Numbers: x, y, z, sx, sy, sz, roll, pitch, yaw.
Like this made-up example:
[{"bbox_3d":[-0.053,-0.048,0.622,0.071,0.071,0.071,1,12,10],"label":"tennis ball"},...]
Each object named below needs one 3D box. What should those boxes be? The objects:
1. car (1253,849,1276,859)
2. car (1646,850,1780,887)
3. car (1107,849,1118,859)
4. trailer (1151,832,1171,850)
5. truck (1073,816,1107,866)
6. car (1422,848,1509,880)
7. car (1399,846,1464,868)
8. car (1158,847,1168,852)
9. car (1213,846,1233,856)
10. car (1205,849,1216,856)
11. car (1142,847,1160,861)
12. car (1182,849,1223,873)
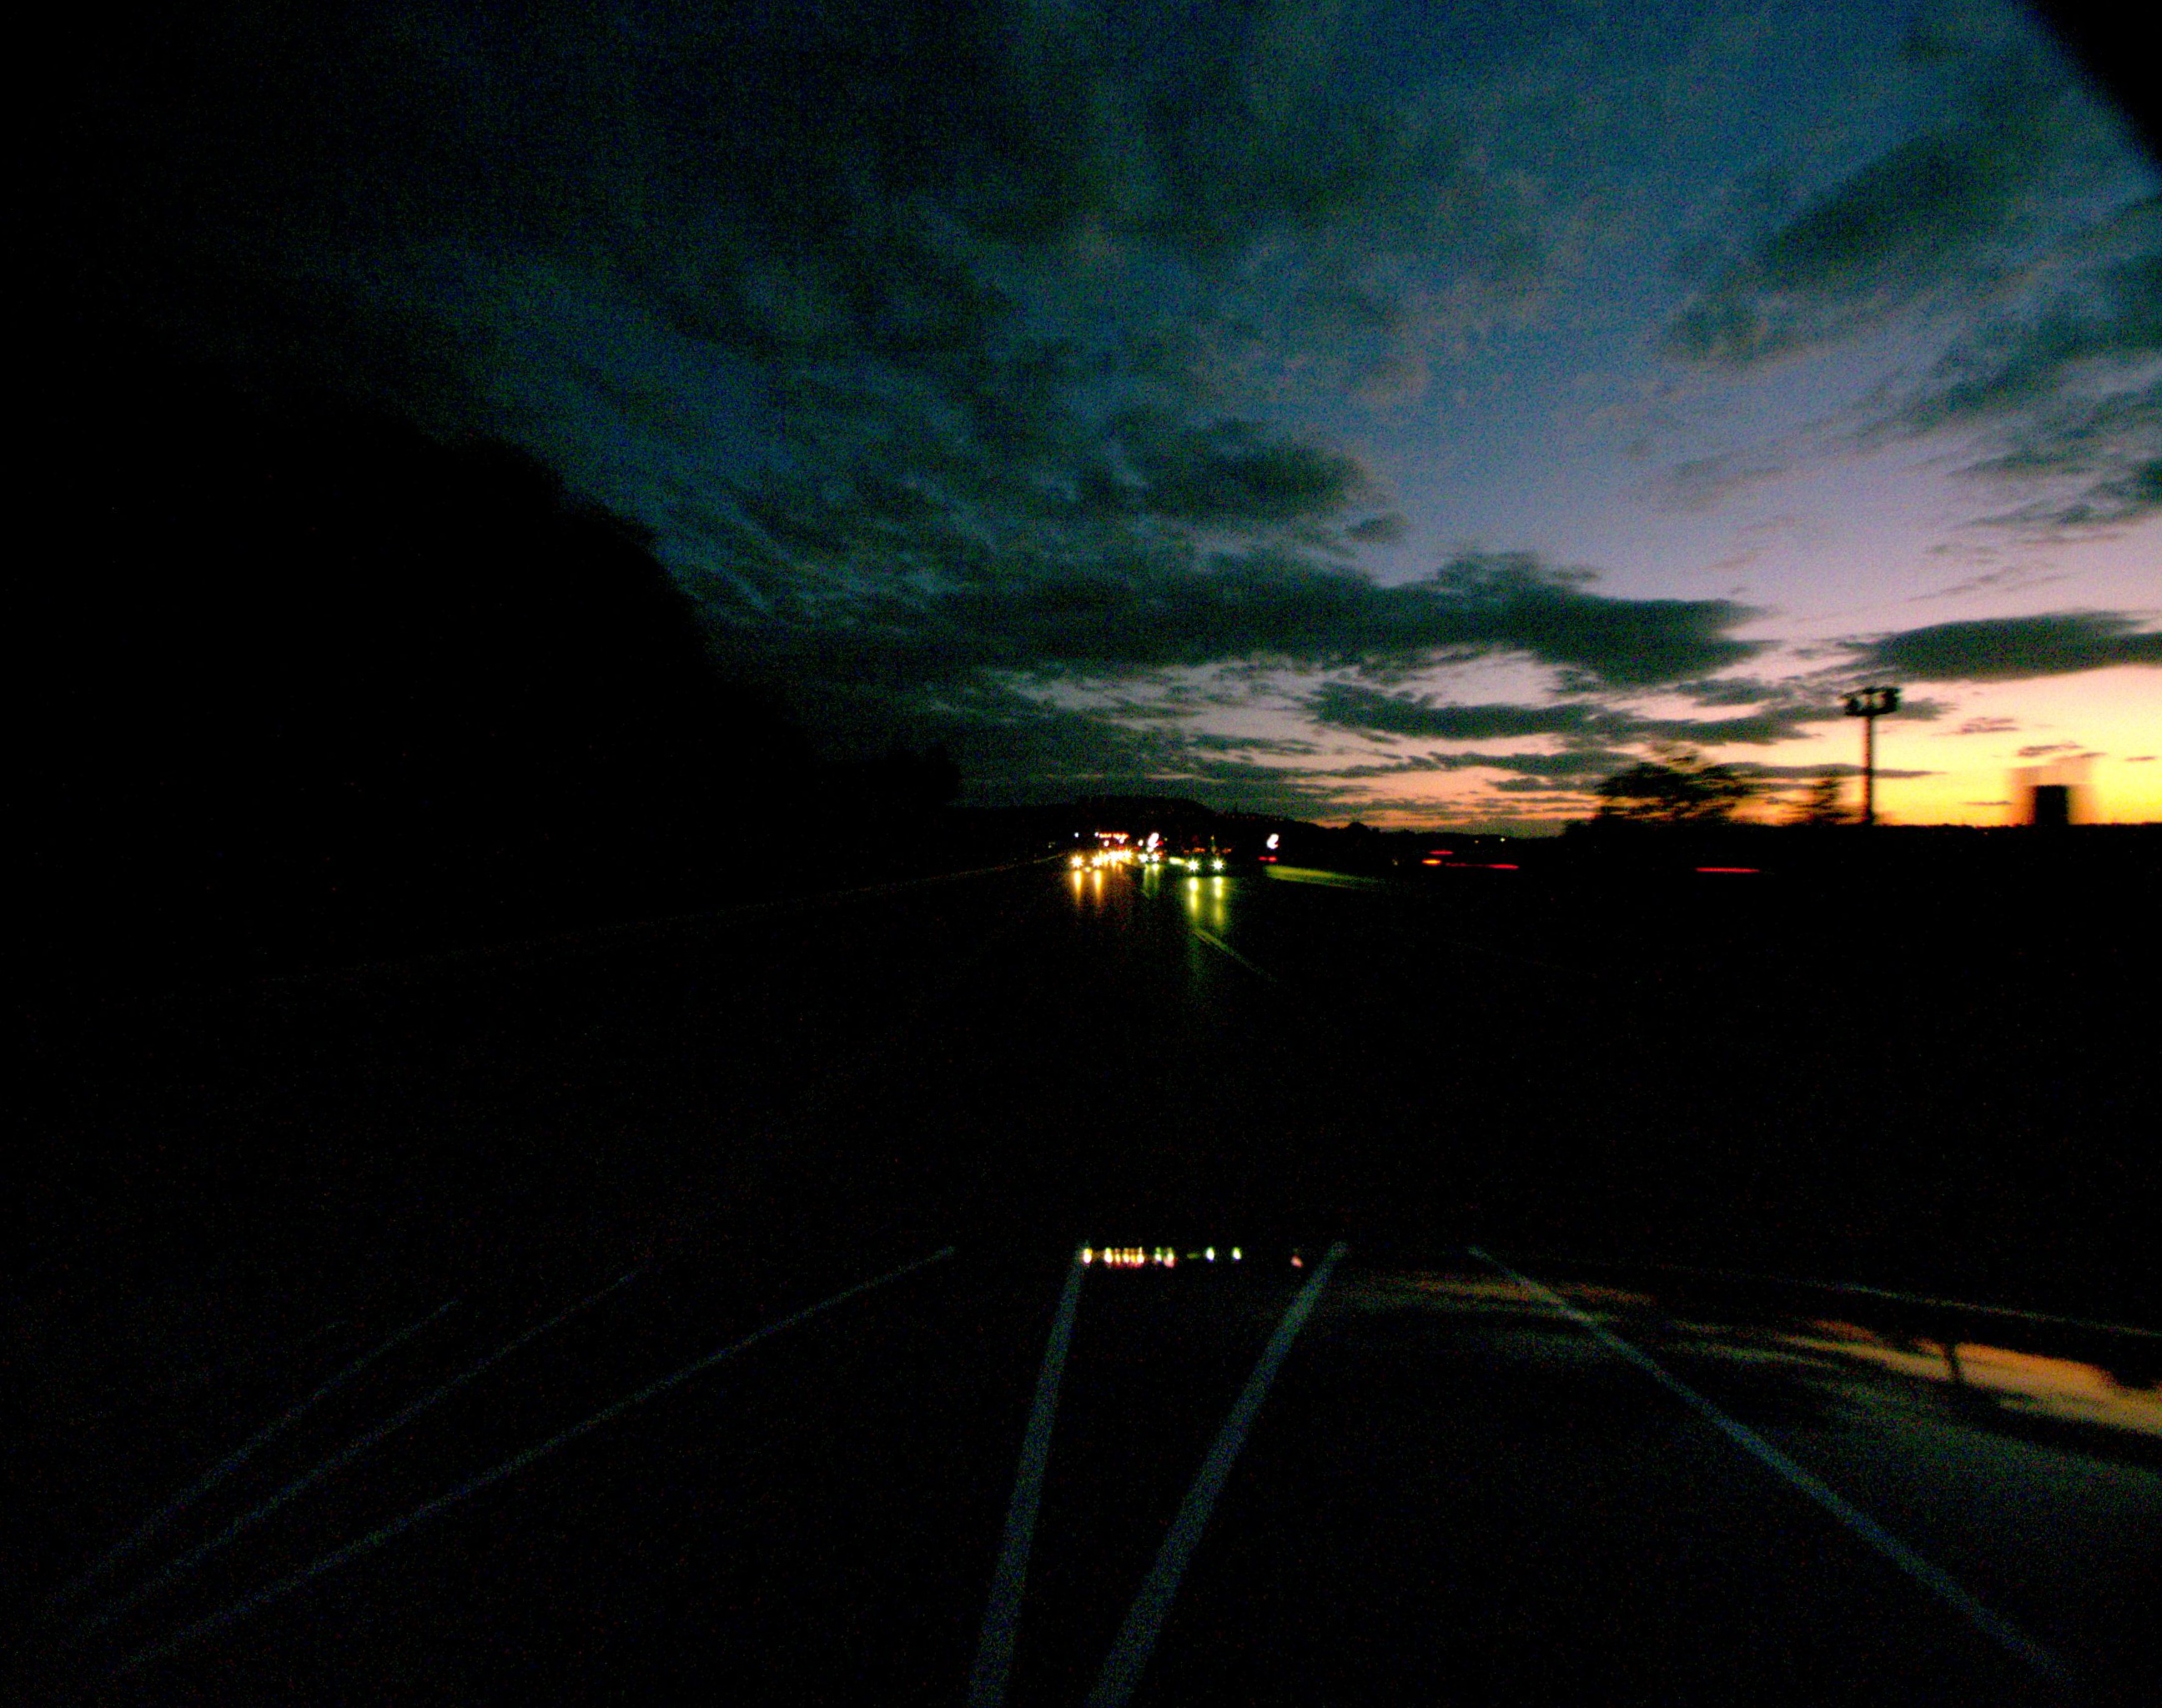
[{"bbox_3d":[20.975,-0.004,87.075,1.584,0.983,4.524,-2,1,1],"label":"car"},{"bbox_3d":[23.418,0.499,28.373,1.722,1.171,3.999,-2,1,1],"label":"car"},{"bbox_3d":[5.391,0.002,130.405,1.802,1.531,4.159,-2,1,1],"label":"car"},{"bbox_3d":[27.824,-4.472,265.943,5.317,5.752,19.211,-2,1,1],"label":"trailer"},{"bbox_3d":[0.867,-1.173,76.823,3.012,4.570,12.578,-2,0,1],"label":"truck"},{"bbox_3d":[16.119,0.383,32.095,1.669,1.171,3.999,-2,1,1],"label":"car"},{"bbox_3d":[20.228,0.139,44.081,1.936,1.171,3.999,-2,1,1],"label":"car"},{"bbox_3d":[19.173,-1.051,177.841,1.867,1.197,4.000,-2,1,1],"label":"car"},{"bbox_3d":[16.832,-0.373,90.260,1.697,0.983,3.565,-2,1,1],"label":"car"},{"bbox_3d":[24.817,-0.335,145.883,1.540,1.184,3.609,-2,1,1],"label":"car"},{"bbox_3d":[9.069,-0.052,98.514,1.819,1.638,4.856,-2,1,0],"label":"car"},{"bbox_3d":[7.821,0.414,49.456,1.819,1.429,5.394,-2,1,0],"label":"car"}]
